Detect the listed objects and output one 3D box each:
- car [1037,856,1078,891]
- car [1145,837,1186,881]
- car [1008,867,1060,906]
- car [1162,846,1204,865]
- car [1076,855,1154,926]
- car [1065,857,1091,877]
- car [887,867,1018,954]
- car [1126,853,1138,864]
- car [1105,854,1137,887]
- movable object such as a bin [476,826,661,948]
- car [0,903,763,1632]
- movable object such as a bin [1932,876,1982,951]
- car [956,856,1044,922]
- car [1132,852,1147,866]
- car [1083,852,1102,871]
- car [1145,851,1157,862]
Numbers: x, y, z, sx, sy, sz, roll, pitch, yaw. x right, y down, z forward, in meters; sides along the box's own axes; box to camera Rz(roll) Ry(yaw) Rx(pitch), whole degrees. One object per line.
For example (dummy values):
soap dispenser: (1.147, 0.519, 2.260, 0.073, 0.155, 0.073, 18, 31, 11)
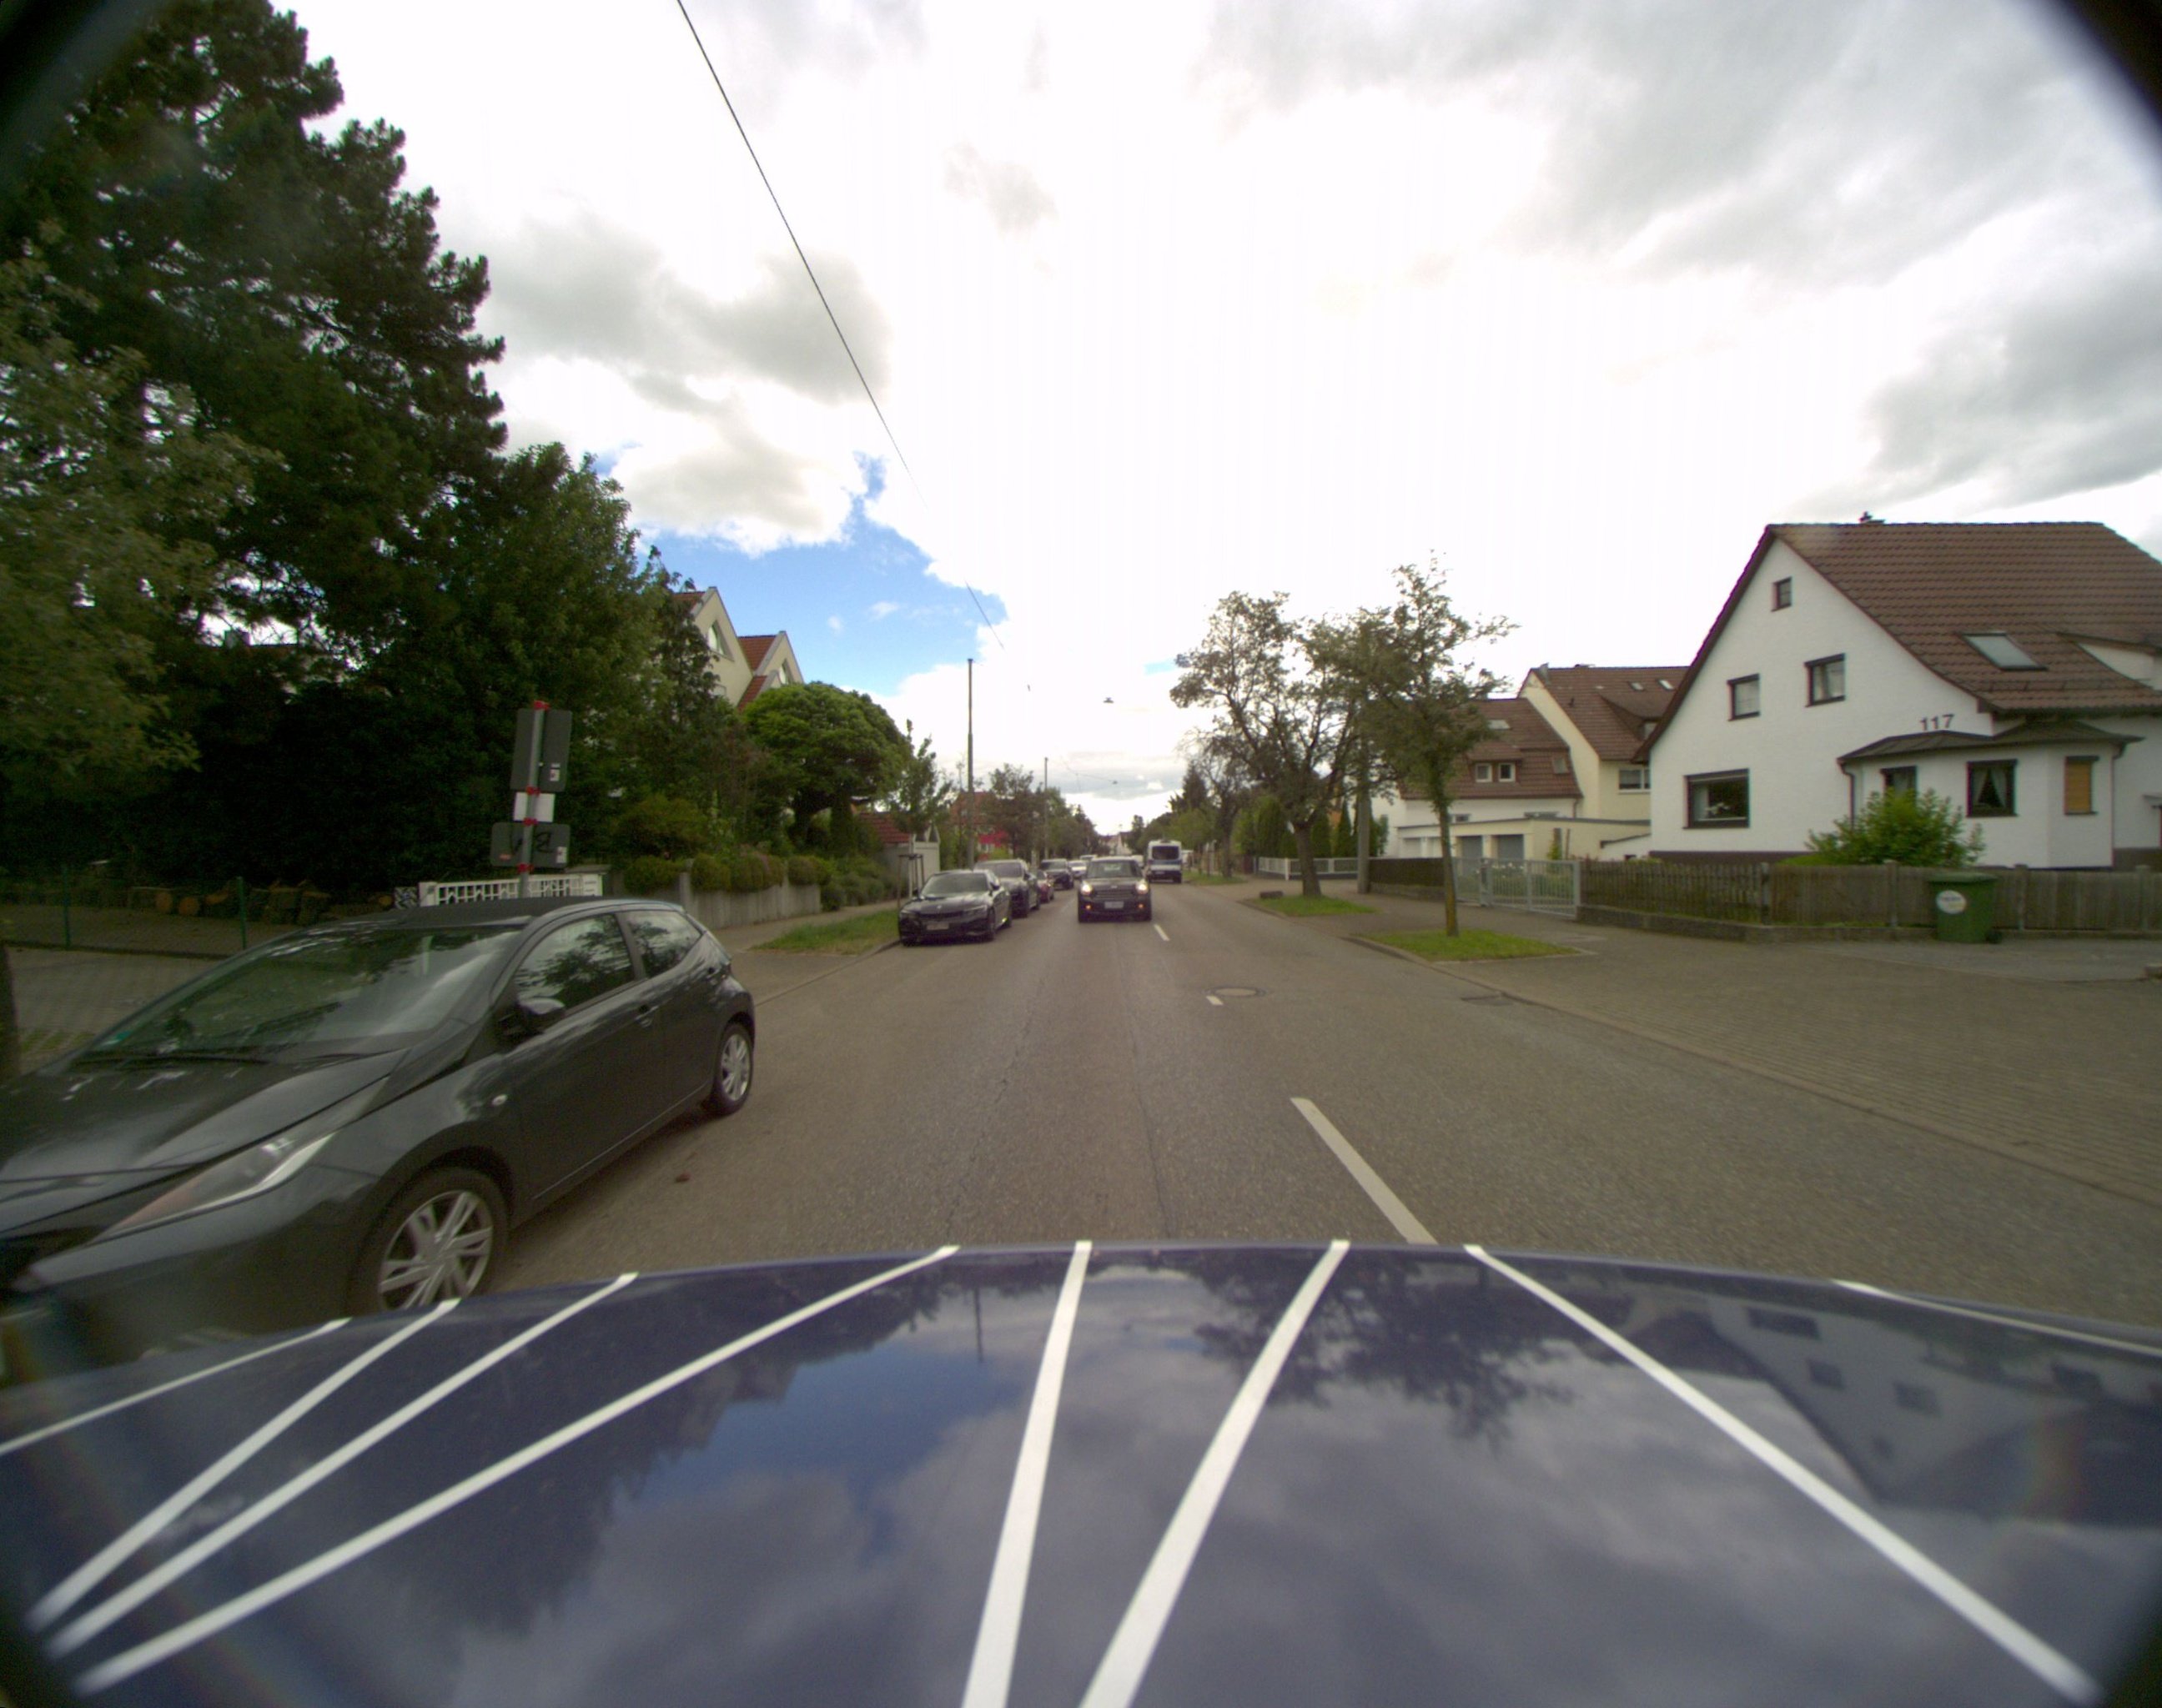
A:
car: (-1.191, 0.978, 40.127, 1.692, 1.600, 4.110, -3, 0, 3)
car: (5.132, 0.272, 46.766, 2.078, 2.567, 5.300, 1, 0, 2)
car: (-1.736, 1.206, 28.978, 1.484, 1.229, 3.885, -4, 0, 3)
car: (14.534, 0.154, 108.051, 5.609, 2.549, 2.133, 1, 1, 21)
car: (0.905, 0.841, 19.228, 1.743, 1.573, 3.685, -1, 0, 4)
car: (-0.187, 0.989, 59.862, 1.697, 1.445, 4.405, -3, 0, 3)
car: (-2.596, 1.099, 16.483, 1.834, 1.448, 4.550, -3, 0, 2)
car: (7.967, 0.639, 118.823, 1.818, 1.683, 4.466, 0, 0, 2)
car: (2.145, 0.837, 40.116, 1.590, 1.598, 3.685, -1, 0, 4)
movable object such as a bin: (-9.244, 0.568, 13.829, 2.317, 2.002, 1.343, -3, 1, -2)
car: (-2.981, 1.092, 3.479, 1.562, 1.434, 3.506, -3, 0, -1)
movable object such as a bin: (11.547, 0.769, 10.024, 0.133, 0.954, 0.428, -2, 0, -2)
car: (-2.273, 0.935, 22.496, 1.834, 1.702, 4.550, -1, 0, 3)
car: (7.572, 0.607, 98.493, 1.799, 1.741, 4.299, -1, 0, 3)
car: (1.259, 0.772, 81.698, 1.779, 1.932, 4.789, -3, 0, 2)
car: (12.644, 0.477, 137.596, 1.998, 1.938, 4.899, -1, 0, 3)
